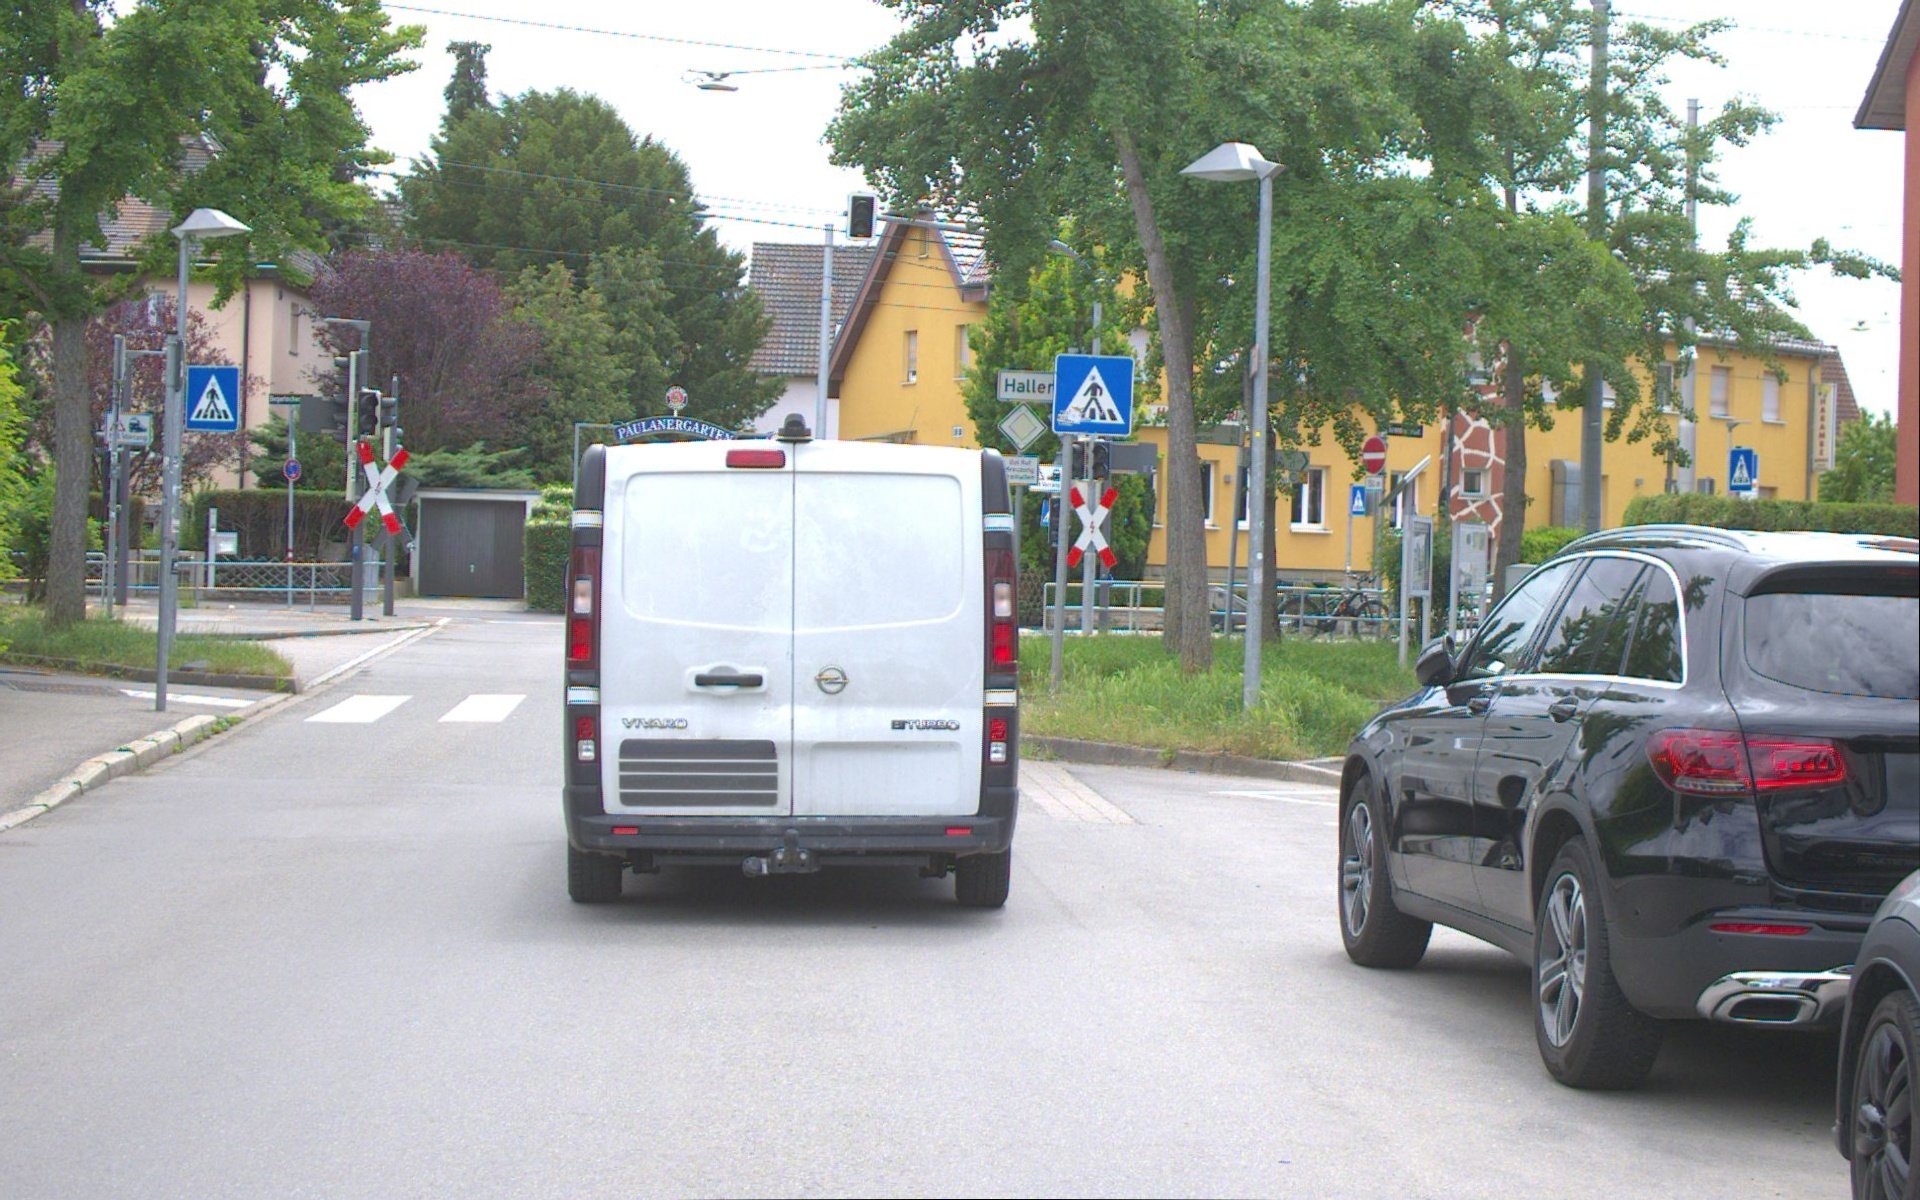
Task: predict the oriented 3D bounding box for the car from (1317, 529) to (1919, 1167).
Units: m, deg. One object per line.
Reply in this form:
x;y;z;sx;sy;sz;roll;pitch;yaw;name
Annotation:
2.429;0.644;11.059;1.702;1.609;4.259;4;0;-5;car

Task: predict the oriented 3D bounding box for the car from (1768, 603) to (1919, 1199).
2.897;0.812;6.102;1.741;1.489;3.656;4;0;-5;car

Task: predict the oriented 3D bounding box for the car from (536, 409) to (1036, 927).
-0.844;0.206;15.600;1.915;1.995;4.439;1;2;-4;car
